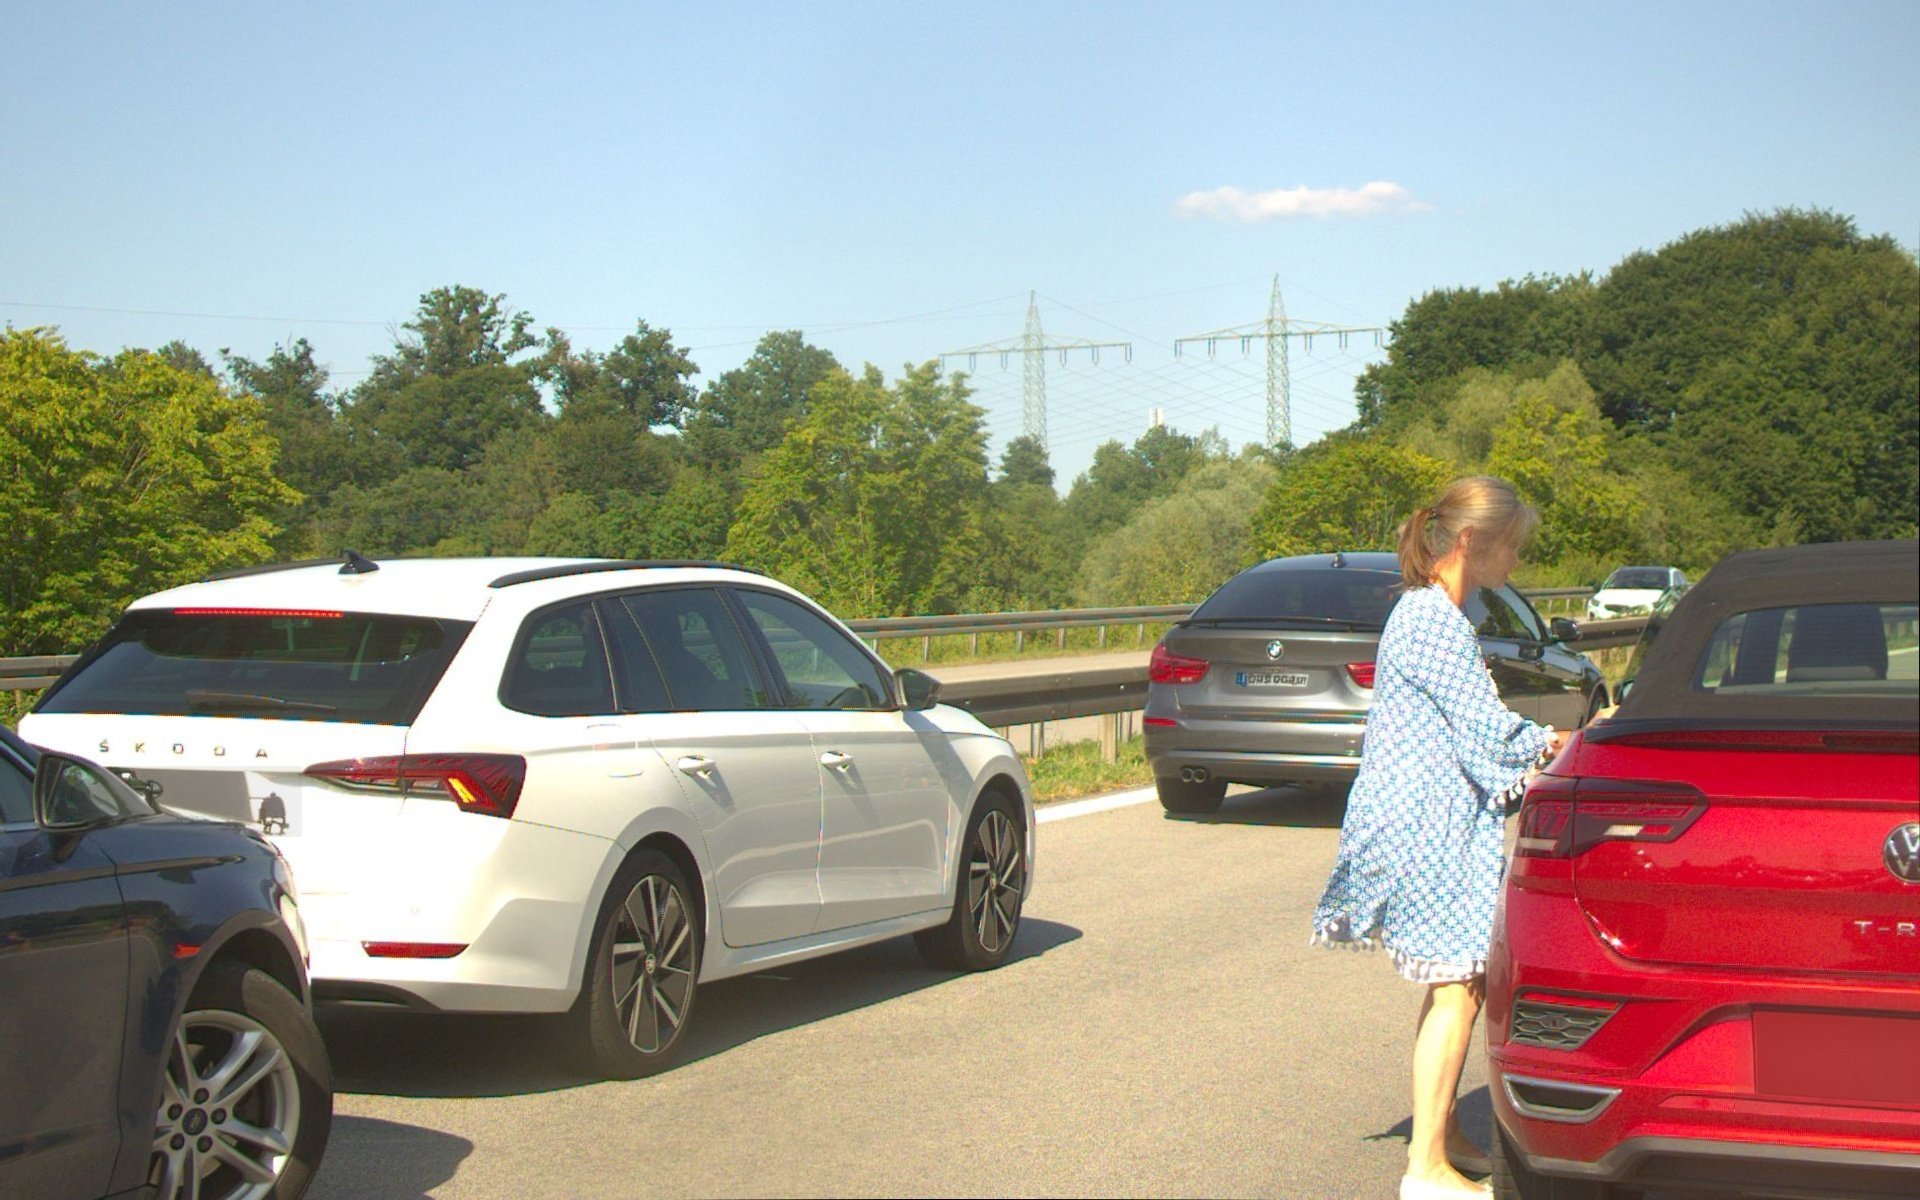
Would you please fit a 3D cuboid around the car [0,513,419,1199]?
[{"bbox_3d":[-2.562,0.615,5.505,1.789,1.488,4.490,-1,1,13],"label":"car"}]

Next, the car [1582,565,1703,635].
[{"bbox_3d":[14.801,-0.030,74.403,1.697,1.421,4.300,1,1,23],"label":"car"}]

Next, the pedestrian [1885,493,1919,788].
[{"bbox_3d":[6.724,0.249,22.729,1.106,1.906,1.256,-1,0,17],"label":"pedestrian"}]

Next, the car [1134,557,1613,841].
[{"bbox_3d":[2.512,0.477,19.912,1.696,1.421,4.329,1,1,22],"label":"car"}]

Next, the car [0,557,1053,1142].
[{"bbox_3d":[-1.231,0.596,10.874,1.696,1.436,4.206,1,1,22],"label":"car"}]

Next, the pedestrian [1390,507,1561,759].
[{"bbox_3d":[3.954,0.240,26.311,1.066,1.876,1.092,-1,0,21],"label":"pedestrian"}]

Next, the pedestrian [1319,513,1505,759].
[{"bbox_3d":[3.325,0.256,25.248,1.116,1.757,1.043,-1,0,21],"label":"pedestrian"}]

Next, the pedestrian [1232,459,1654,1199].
[{"bbox_3d":[1.124,0.532,7.901,0.742,1.677,0.841,0,0,24],"label":"pedestrian"}]

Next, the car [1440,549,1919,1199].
[{"bbox_3d":[2.483,0.632,8.072,1.734,1.482,4.206,1,1,22],"label":"car"}]
